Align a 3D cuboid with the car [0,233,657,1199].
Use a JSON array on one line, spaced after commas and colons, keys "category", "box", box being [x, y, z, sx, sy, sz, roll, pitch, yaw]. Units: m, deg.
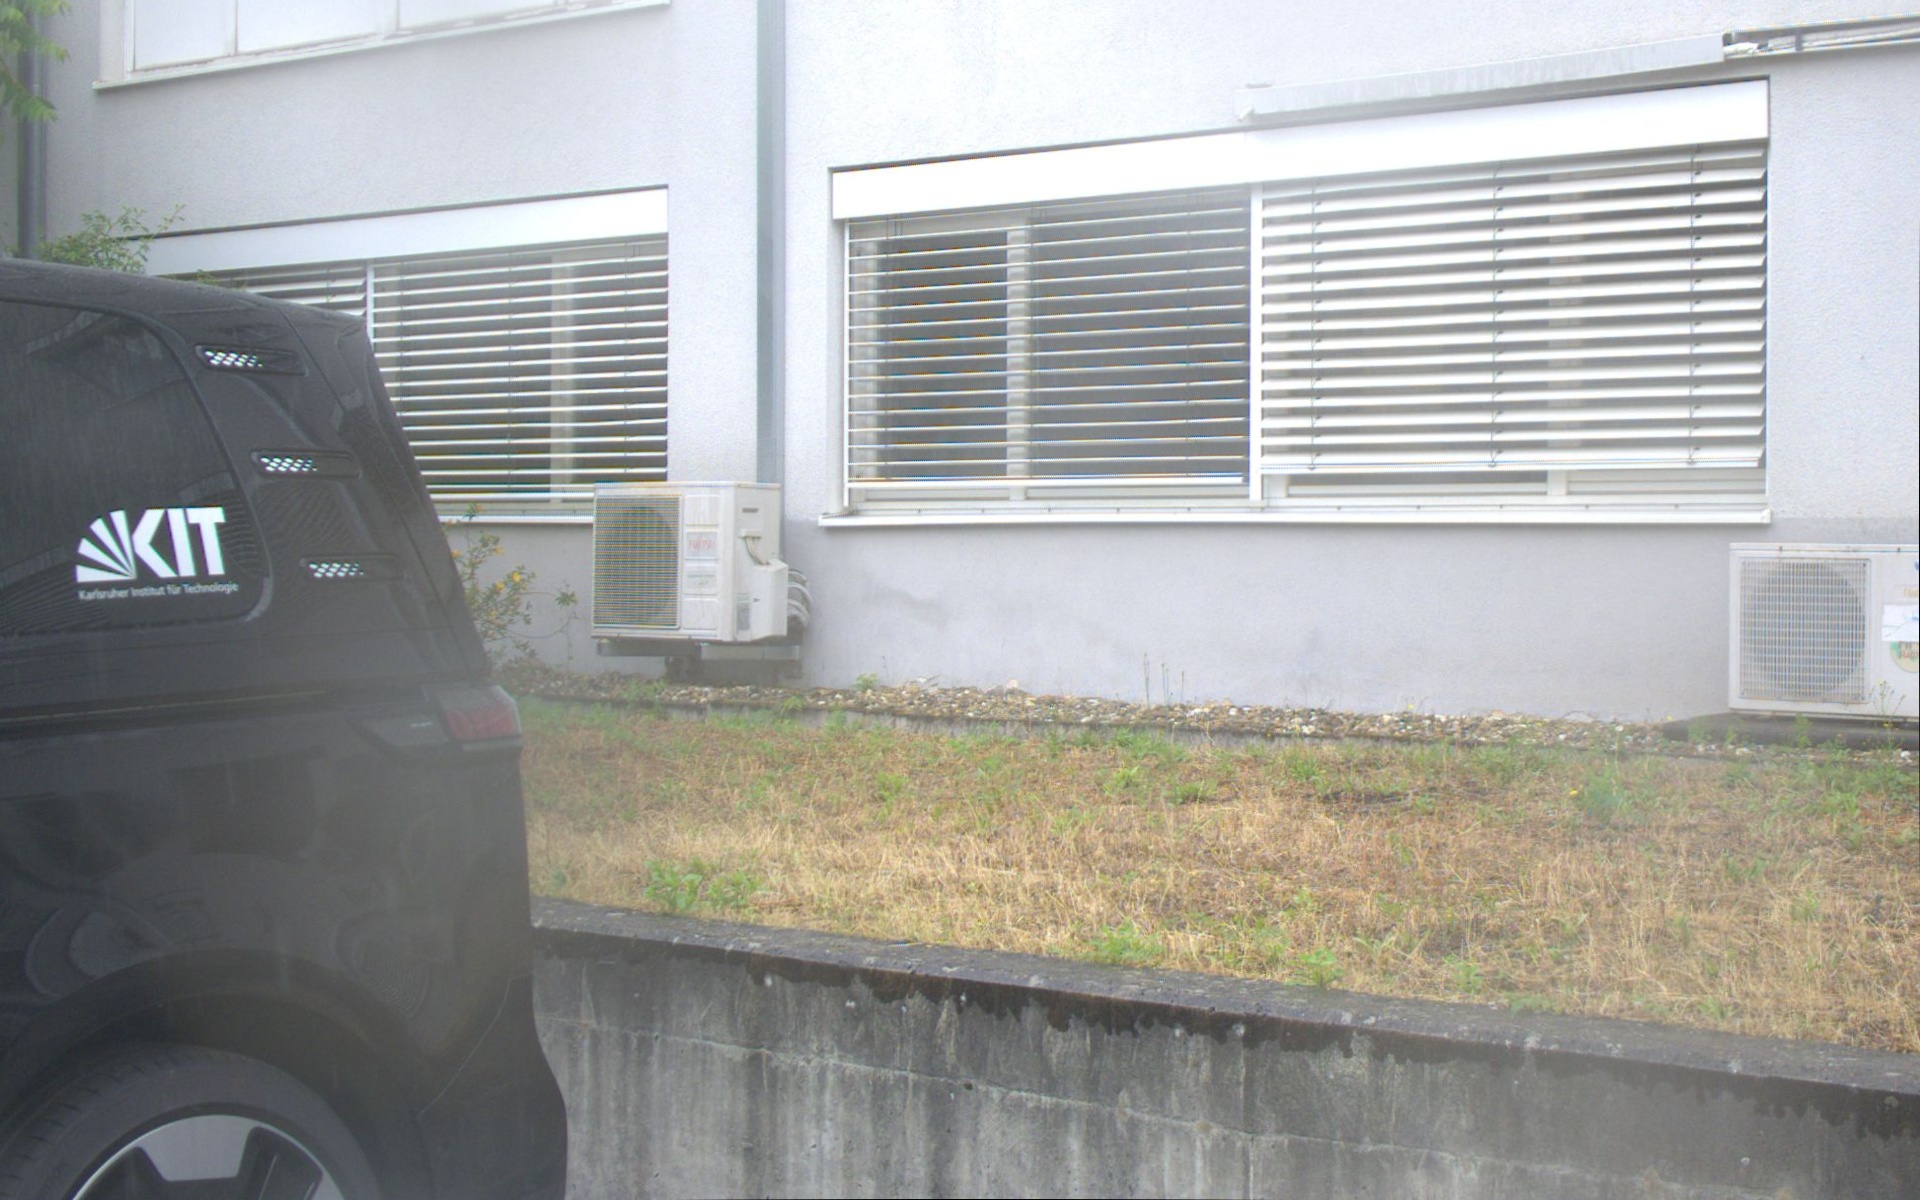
[{"category": "car", "box": [-2.714, 0.492, 4.224, 2.045, 1.891, 4.512, 0, 1, 41]}]
